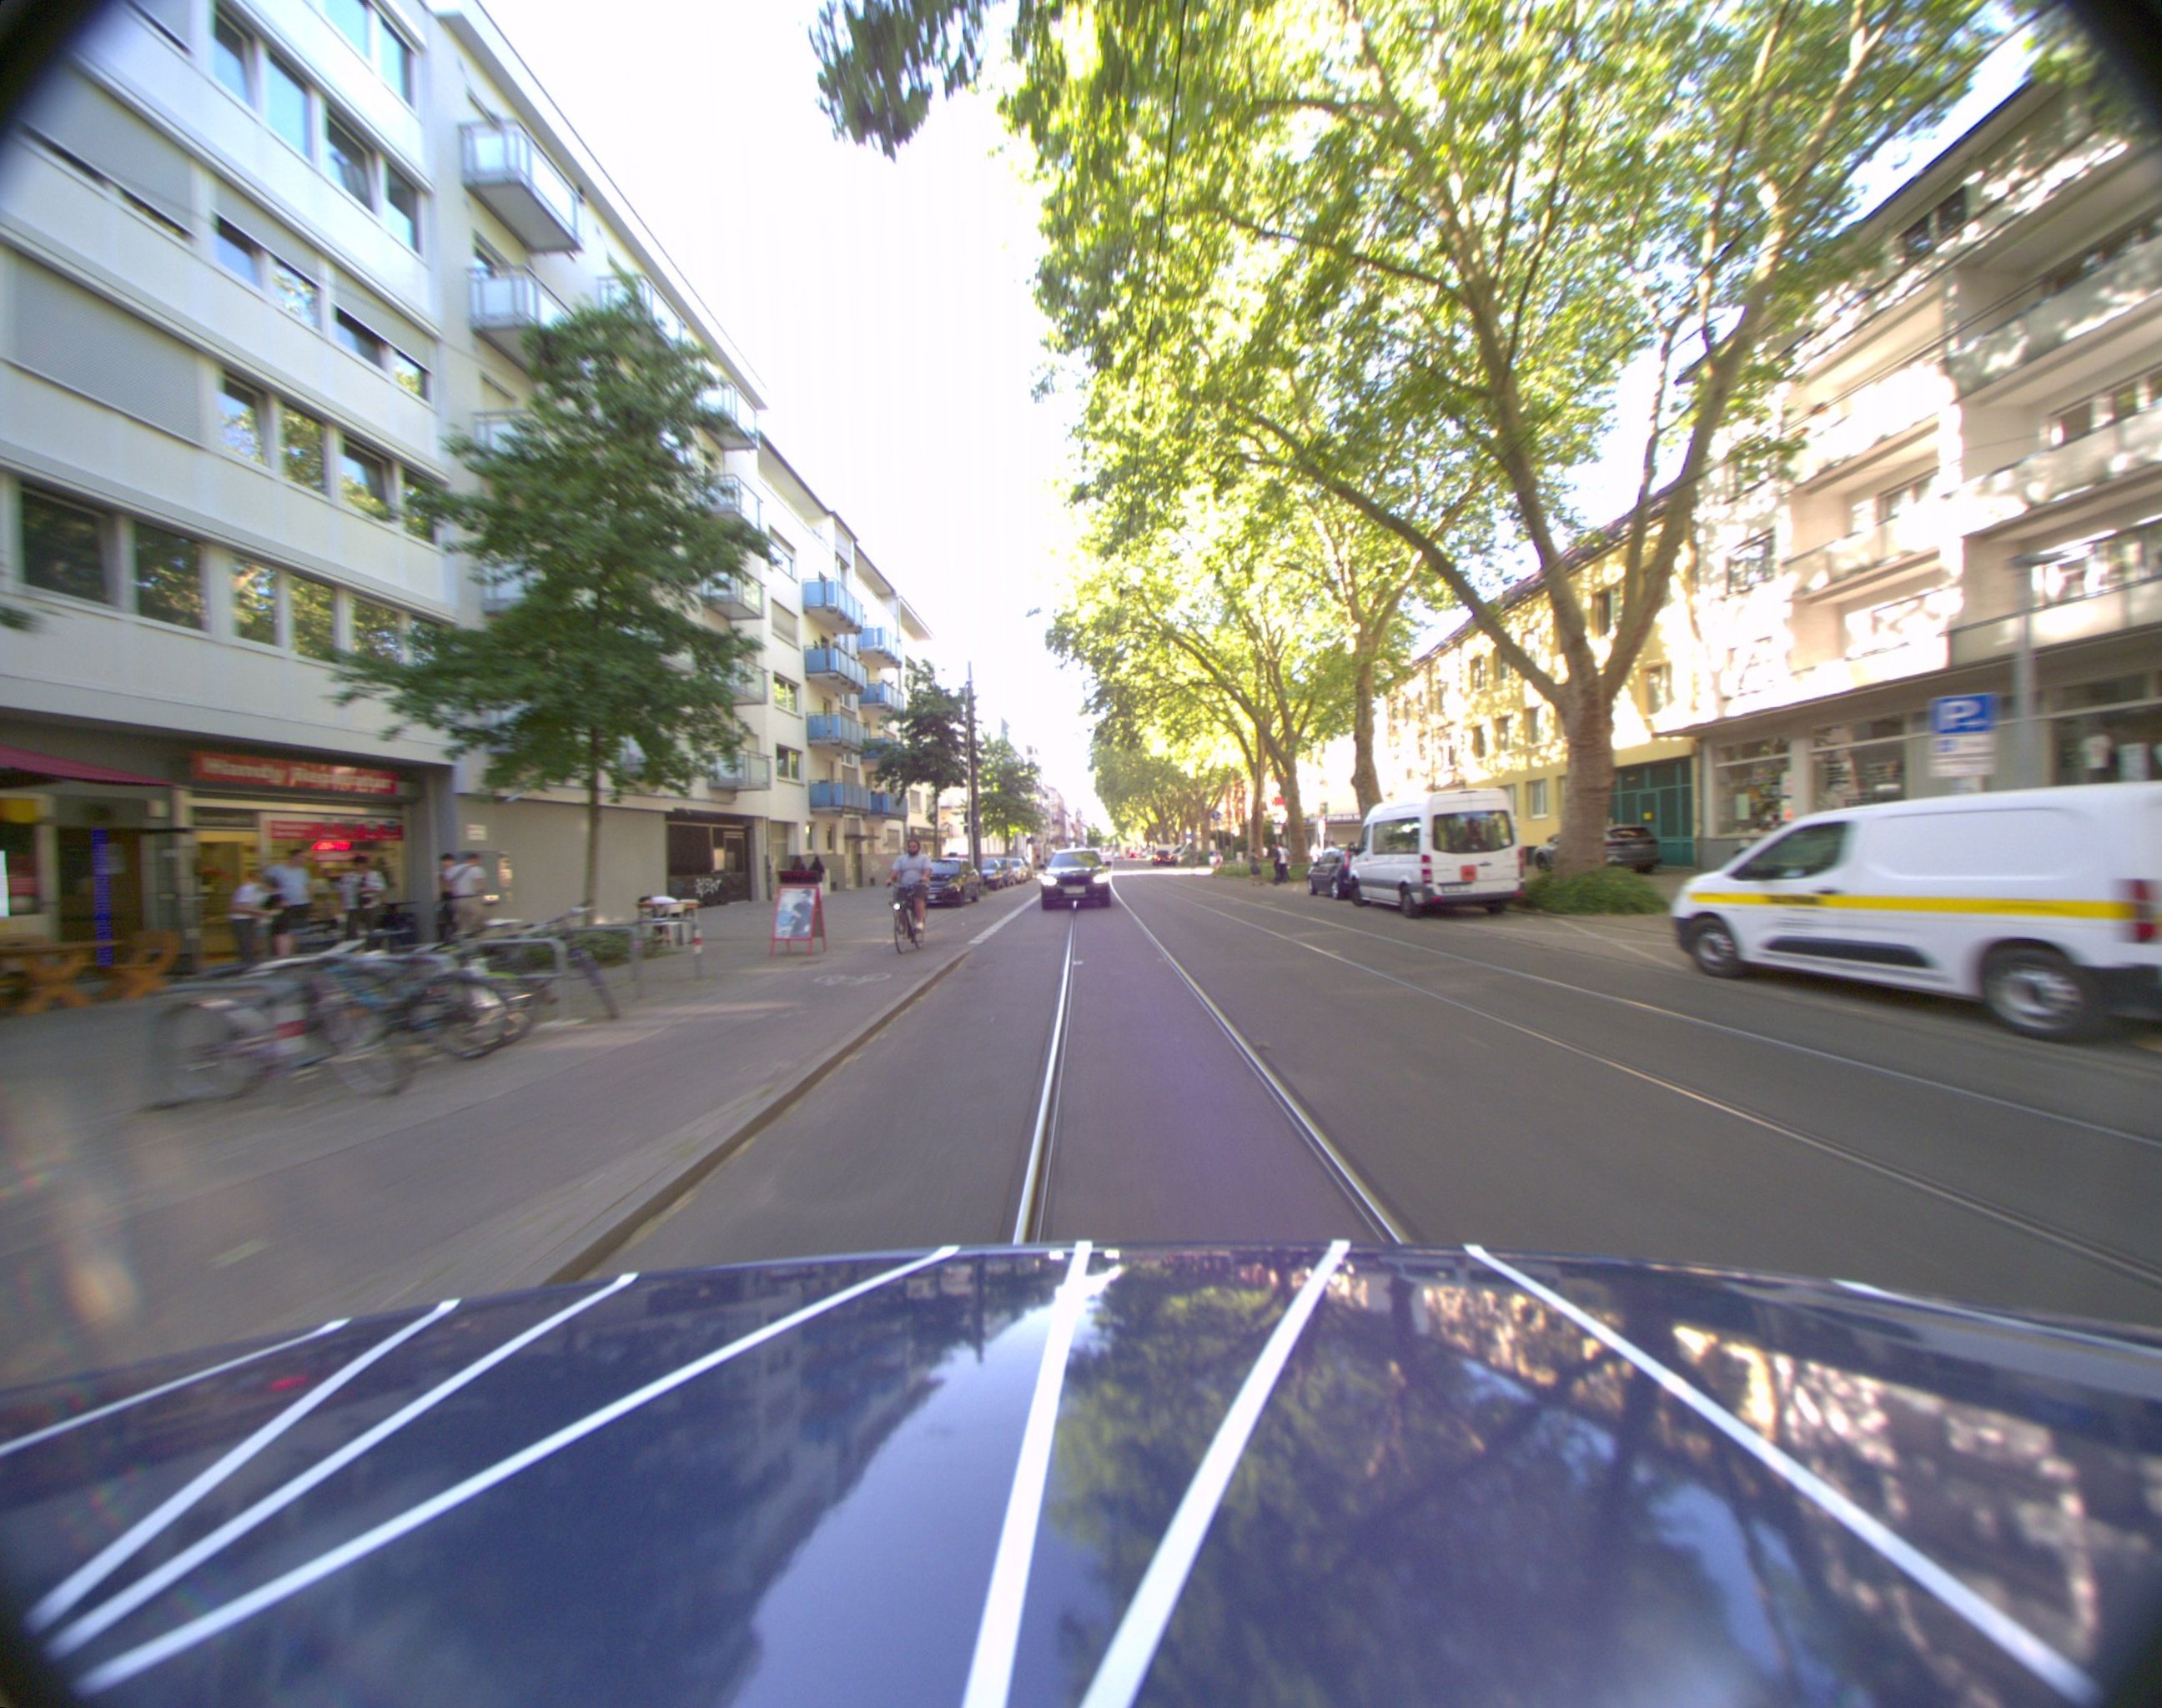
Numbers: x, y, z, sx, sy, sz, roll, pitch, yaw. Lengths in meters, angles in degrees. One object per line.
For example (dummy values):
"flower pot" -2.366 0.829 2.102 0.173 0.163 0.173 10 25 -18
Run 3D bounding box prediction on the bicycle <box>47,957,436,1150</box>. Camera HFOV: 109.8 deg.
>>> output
"bicycle" -5.166 1.216 4.736 1.820 0.988 0.481 -3 1 0

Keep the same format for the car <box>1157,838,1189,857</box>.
"car" 13.990 -0.988 115.953 4.660 2.518 2.000 -3 1 3

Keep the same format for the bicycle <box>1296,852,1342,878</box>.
"bicycle" 10.596 0.495 33.825 1.847 1.074 0.570 -2 1 29

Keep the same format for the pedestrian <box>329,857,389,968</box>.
"pedestrian" -12.146 0.961 12.787 0.633 1.795 0.525 -4 2 -44

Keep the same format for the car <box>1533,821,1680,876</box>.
"car" 18.583 -0.217 27.219 1.998 1.723 4.898 -3 1 3

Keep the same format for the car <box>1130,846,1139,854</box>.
"car" 13.179 -0.960 187.285 1.998 1.723 4.399 -3 1 3

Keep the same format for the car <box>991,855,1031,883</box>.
"car" -4.014 0.816 44.282 1.791 1.528 4.128 0 0 2

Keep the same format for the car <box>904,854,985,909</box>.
"car" -4.467 0.846 25.433 1.763 1.578 4.329 1 1 2

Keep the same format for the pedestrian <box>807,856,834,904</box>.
"pedestrian" -9.071 0.894 26.476 0.643 1.628 0.870 0 1 1

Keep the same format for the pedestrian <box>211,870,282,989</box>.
"pedestrian" -11.959 1.058 10.905 0.508 1.619 0.517 -4 2 -35

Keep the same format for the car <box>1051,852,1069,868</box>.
"car" -2.694 0.739 99.114 1.957 1.914 4.000 -3 1 3

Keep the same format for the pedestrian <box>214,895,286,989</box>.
"pedestrian" -12.037 1.254 11.028 0.510 1.269 0.625 -4 2 -35

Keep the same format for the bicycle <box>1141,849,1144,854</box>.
"bicycle" 12.909 -0.536 159.024 0.533 0.901 1.557 -3 1 3

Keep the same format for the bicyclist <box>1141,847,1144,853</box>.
"bicyclist" 12.894 -0.865 159.040 0.533 1.206 0.666 -3 1 3

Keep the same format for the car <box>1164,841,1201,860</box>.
"car" 13.537 -0.423 101.296 4.660 2.293 2.000 -3 1 3

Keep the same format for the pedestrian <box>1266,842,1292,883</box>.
"pedestrian" 8.658 0.385 33.229 0.768 1.725 0.715 -2 2 44

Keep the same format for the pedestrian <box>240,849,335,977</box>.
"pedestrian" -12.584 0.917 12.073 0.507 1.943 0.793 -3 1 12

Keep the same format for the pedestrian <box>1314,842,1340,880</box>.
"pedestrian" 10.684 0.305 32.956 0.768 1.600 0.715 -2 2 44

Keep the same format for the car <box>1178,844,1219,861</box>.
"car" 12.641 -0.107 81.864 3.997 1.600 1.909 -3 -1 1

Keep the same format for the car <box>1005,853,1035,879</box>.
"car" -3.970 0.753 50.223 1.724 1.562 4.258 0 1 -1

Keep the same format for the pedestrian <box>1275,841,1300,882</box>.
"pedestrian" 9.121 0.332 33.593 0.768 1.725 0.718 -2 2 44

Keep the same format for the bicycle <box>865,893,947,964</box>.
"bicycle" -2.857 1.192 12.628 0.790 0.932 1.939 -3 1 3

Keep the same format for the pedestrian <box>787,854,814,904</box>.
"pedestrian" -9.768 0.858 26.472 0.597 1.668 0.934 0 1 0

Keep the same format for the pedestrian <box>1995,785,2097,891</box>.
"pedestrian" 17.759 -0.292 14.005 0.746 1.859 0.864 -3 1 0

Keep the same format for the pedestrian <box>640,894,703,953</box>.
"pedestrian" -8.048 1.347 14.924 1.003 1.021 0.659 -4 1 -32

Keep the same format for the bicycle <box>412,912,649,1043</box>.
"bicycle" -5.154 1.149 7.167 1.819 1.094 0.525 -2 1 2

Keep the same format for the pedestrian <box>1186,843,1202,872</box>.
"pedestrian" 7.146 0.238 48.123 0.700 1.781 0.801 -3 1 -10

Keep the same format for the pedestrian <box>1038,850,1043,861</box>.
"pedestrian" -6.121 0.235 114.011 0.590 1.493 0.600 -3 1 2

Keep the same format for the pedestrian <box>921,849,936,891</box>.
"pedestrian" -6.908 0.718 34.466 0.477 1.841 0.664 -2 1 0

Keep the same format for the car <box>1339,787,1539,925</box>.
"car" 7.901 -0.009 17.620 2.112 2.562 6.024 -3 1 5

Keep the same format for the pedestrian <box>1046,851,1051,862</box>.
"pedestrian" -4.955 0.331 116.116 0.697 1.685 0.678 -3 1 2

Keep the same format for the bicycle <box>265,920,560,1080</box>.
"bicycle" -5.415 1.164 6.228 1.821 1.094 0.481 -3 1 -6

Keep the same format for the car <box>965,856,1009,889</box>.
"car" -4.472 0.843 36.463 1.626 1.473 3.889 0 0 0

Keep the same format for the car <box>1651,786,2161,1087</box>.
"car" 7.475 0.435 6.615 1.767 1.840 4.317 -3 1 1

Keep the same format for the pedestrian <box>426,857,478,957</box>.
"pedestrian" -11.515 0.957 13.922 0.432 1.786 0.489 -3 1 1

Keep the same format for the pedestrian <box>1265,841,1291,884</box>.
"pedestrian" 8.377 0.370 32.307 0.768 1.767 0.715 -2 2 43

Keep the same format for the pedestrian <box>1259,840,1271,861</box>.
"pedestrian" 15.753 -0.318 64.995 0.724 1.770 0.669 -3 2 -7

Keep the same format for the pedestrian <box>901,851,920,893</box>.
"pedestrian" -7.768 0.809 34.632 0.663 1.841 0.539 -2 1 1

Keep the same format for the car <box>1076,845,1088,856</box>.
"car" 0.212 -0.681 149.220 1.990 2.085 4.470 -3 1 3

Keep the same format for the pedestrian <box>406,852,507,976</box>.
"pedestrian" -9.505 0.873 11.603 0.592 1.774 0.995 -3 1 1

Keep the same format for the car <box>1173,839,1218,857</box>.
"car" 13.949 -0.739 92.608 5.134 1.984 1.999 -3 1 -2

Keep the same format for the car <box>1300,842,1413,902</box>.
"car" 8.264 0.471 23.231 1.921 1.553 4.283 -3 1 2

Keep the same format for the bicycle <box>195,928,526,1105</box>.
"bicycle" -5.328 1.183 5.700 1.821 1.094 0.497 -3 1 -6

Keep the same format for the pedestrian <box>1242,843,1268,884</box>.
"pedestrian" 7.671 0.408 33.433 0.772 1.725 0.712 -4 2 -39

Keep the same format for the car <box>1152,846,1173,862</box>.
"car" 8.918 0.002 83.500 1.928 1.674 4.181 0 1 1

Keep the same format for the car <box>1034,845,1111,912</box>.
"car" -0.142 0.654 22.976 1.998 1.723 4.400 -3 1 3

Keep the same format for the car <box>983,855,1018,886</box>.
"car" -4.254 0.851 40.294 1.447 1.528 2.881 0 0 2

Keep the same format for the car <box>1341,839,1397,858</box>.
"car" 24.936 -0.487 65.829 4.152 1.469 1.834 -3 1 2

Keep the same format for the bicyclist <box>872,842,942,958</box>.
"bicyclist" -2.880 0.734 12.678 0.769 1.821 1.099 -3 1 3

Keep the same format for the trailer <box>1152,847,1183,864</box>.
"trailer" 8.829 0.100 78.082 2.452 1.622 6.583 0 1 1
